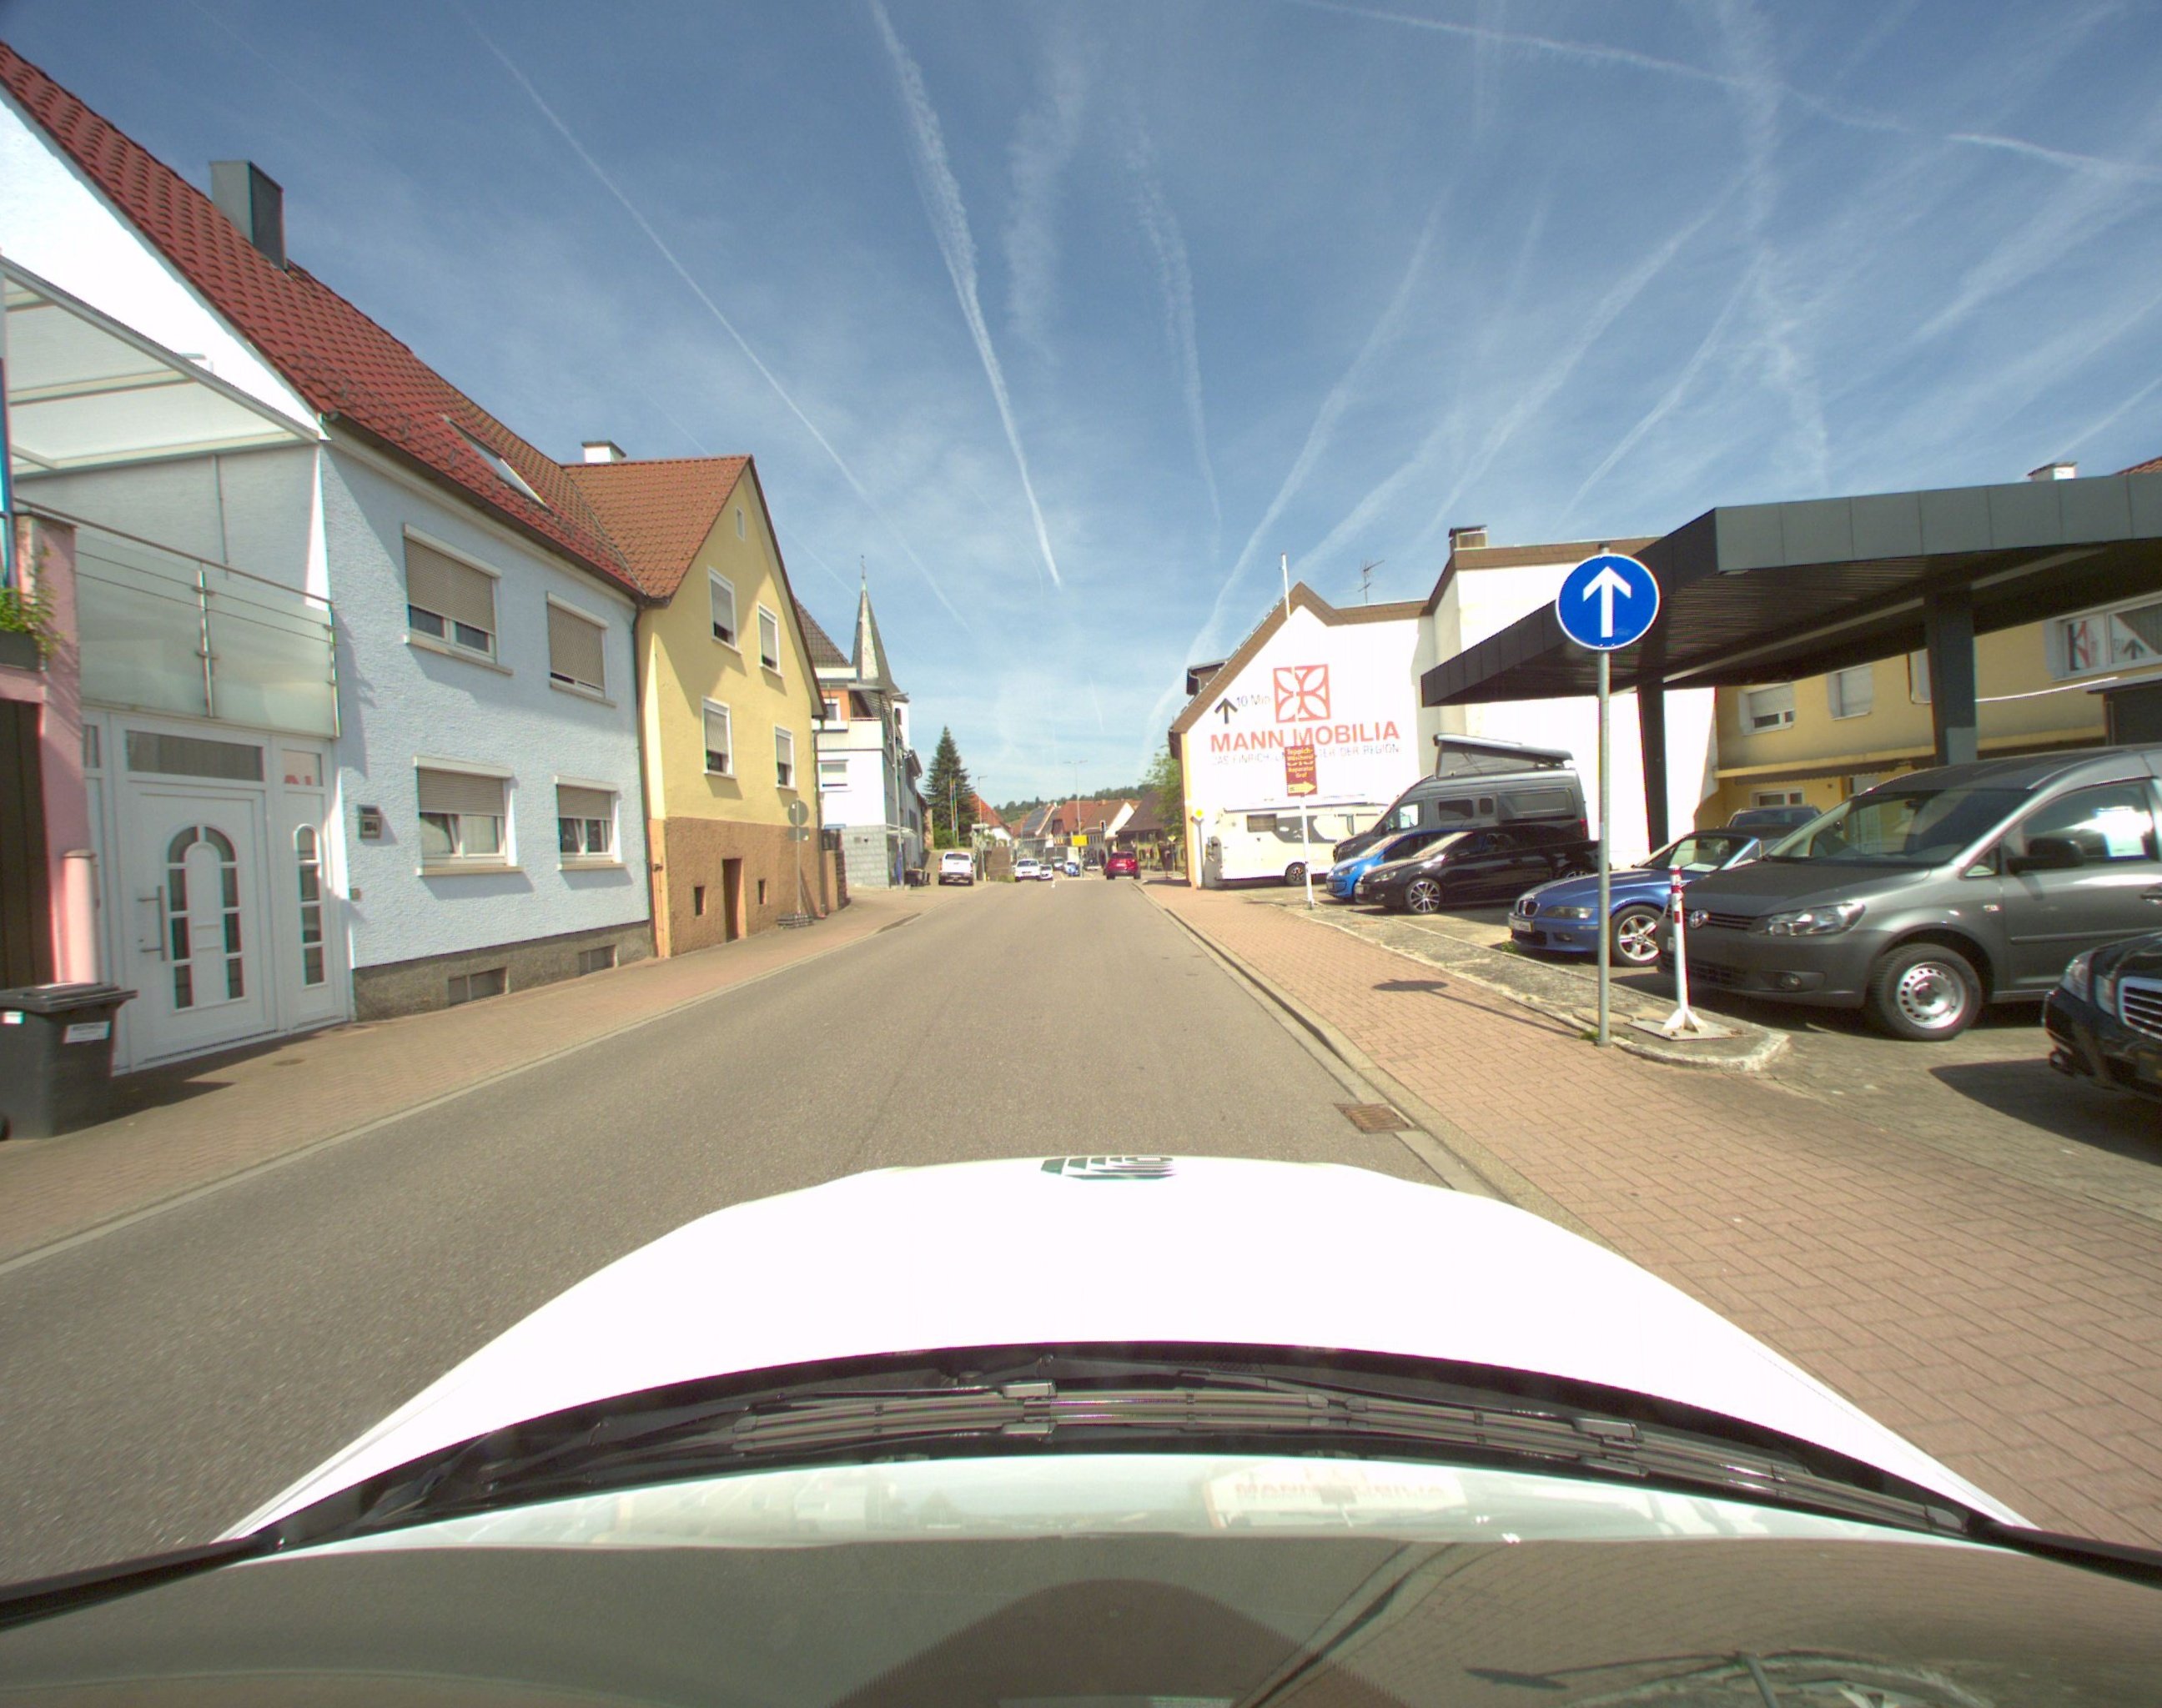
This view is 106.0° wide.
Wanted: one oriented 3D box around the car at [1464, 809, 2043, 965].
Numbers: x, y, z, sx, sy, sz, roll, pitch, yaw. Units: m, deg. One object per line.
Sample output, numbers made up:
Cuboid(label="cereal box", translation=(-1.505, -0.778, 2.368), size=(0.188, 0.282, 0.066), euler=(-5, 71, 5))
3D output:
Cuboid(label="car", translation=(6.885, 0.322, 8.826), size=(4.517, 1.267, 1.968), euler=(-3, 0, 4))

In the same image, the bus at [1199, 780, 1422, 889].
Cuboid(label="bus", translation=(7.335, -0.595, 26.670), size=(6.536, 2.905, 2.232), euler=(-5, -1, 4))

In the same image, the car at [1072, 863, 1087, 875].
Cuboid(label="car", translation=(-0.198, 2.059, 110.932), size=(1.813, 1.434, 4.251), euler=(-2, 0, 3))

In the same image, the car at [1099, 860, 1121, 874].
Cuboid(label="car", translation=(3.938, 1.731, 110.771), size=(1.823, 1.738, 3.986), euler=(-3, 0, -14))

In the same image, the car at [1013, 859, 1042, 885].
Cuboid(label="car", translation=(-3.526, 1.147, 53.385), size=(1.726, 1.542, 3.806), euler=(-3, 0, -4))

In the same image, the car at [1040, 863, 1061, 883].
Cuboid(label="car", translation=(-3.373, 2.078, 90.970), size=(1.962, 1.933, 5.313), euler=(-3, 0, 0))

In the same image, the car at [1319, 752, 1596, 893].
Cuboid(label="car", translation=(9.288, -0.697, 20.633), size=(5.908, 2.986, 2.330), euler=(-3, 0, 21))

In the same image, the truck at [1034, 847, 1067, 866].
Cuboid(label="truck", translation=(-5.939, 0.537, 155.668), size=(3.170, 3.460, 10.641), euler=(0, -1, -19))

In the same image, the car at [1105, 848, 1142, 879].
Cuboid(label="car", translation=(2.580, 0.545, 48.728), size=(1.795, 1.663, 3.820), euler=(-3, 0, 7))

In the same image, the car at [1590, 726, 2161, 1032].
Cuboid(label="car", translation=(6.757, 0.105, 6.049), size=(4.614, 1.810, 1.968), euler=(-3, 0, 4))

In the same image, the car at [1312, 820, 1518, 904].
Cuboid(label="car", translation=(7.197, 0.161, 17.753), size=(3.788, 1.528, 1.582), euler=(-3, 0, -1))

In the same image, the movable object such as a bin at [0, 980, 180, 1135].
Cuboid(label="movable object such as a bin", translation=(-6.636, 1.327, 5.413), size=(0.627, 0.880, 0.599), euler=(-1, -1, 2))

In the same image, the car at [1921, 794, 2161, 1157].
Cuboid(label="car", translation=(6.729, 0.401, 3.231), size=(4.614, 1.498, 1.913), euler=(-3, 0, 4))

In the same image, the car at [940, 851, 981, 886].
Cuboid(label="car", translation=(-6.555, 0.741, 44.659), size=(1.801, 1.798, 5.278), euler=(1, 0, -4))

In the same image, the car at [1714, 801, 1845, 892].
Cuboid(label="car", translation=(13.408, -0.185, 15.643), size=(1.705, 1.525, 3.895), euler=(-1, 2, 41))

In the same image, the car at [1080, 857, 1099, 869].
Cuboid(label="car", translation=(1.344, 1.456, 131.249), size=(1.850, 2.014, 3.978), euler=(-1, 0, -16))

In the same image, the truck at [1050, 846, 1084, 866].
Cuboid(label="truck", translation=(-2.600, 0.399, 146.263), size=(3.233, 3.549, 9.169), euler=(0, 0, -19))

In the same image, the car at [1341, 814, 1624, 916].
Cuboid(label="car", translation=(6.986, 0.182, 14.538), size=(4.141, 1.481, 1.730), euler=(-3, 0, 4))

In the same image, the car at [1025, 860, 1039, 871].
Cuboid(label="car", translation=(-9.471, 2.199, 156.695), size=(1.761, 2.246, 4.528), euler=(-1, 0, -16))
